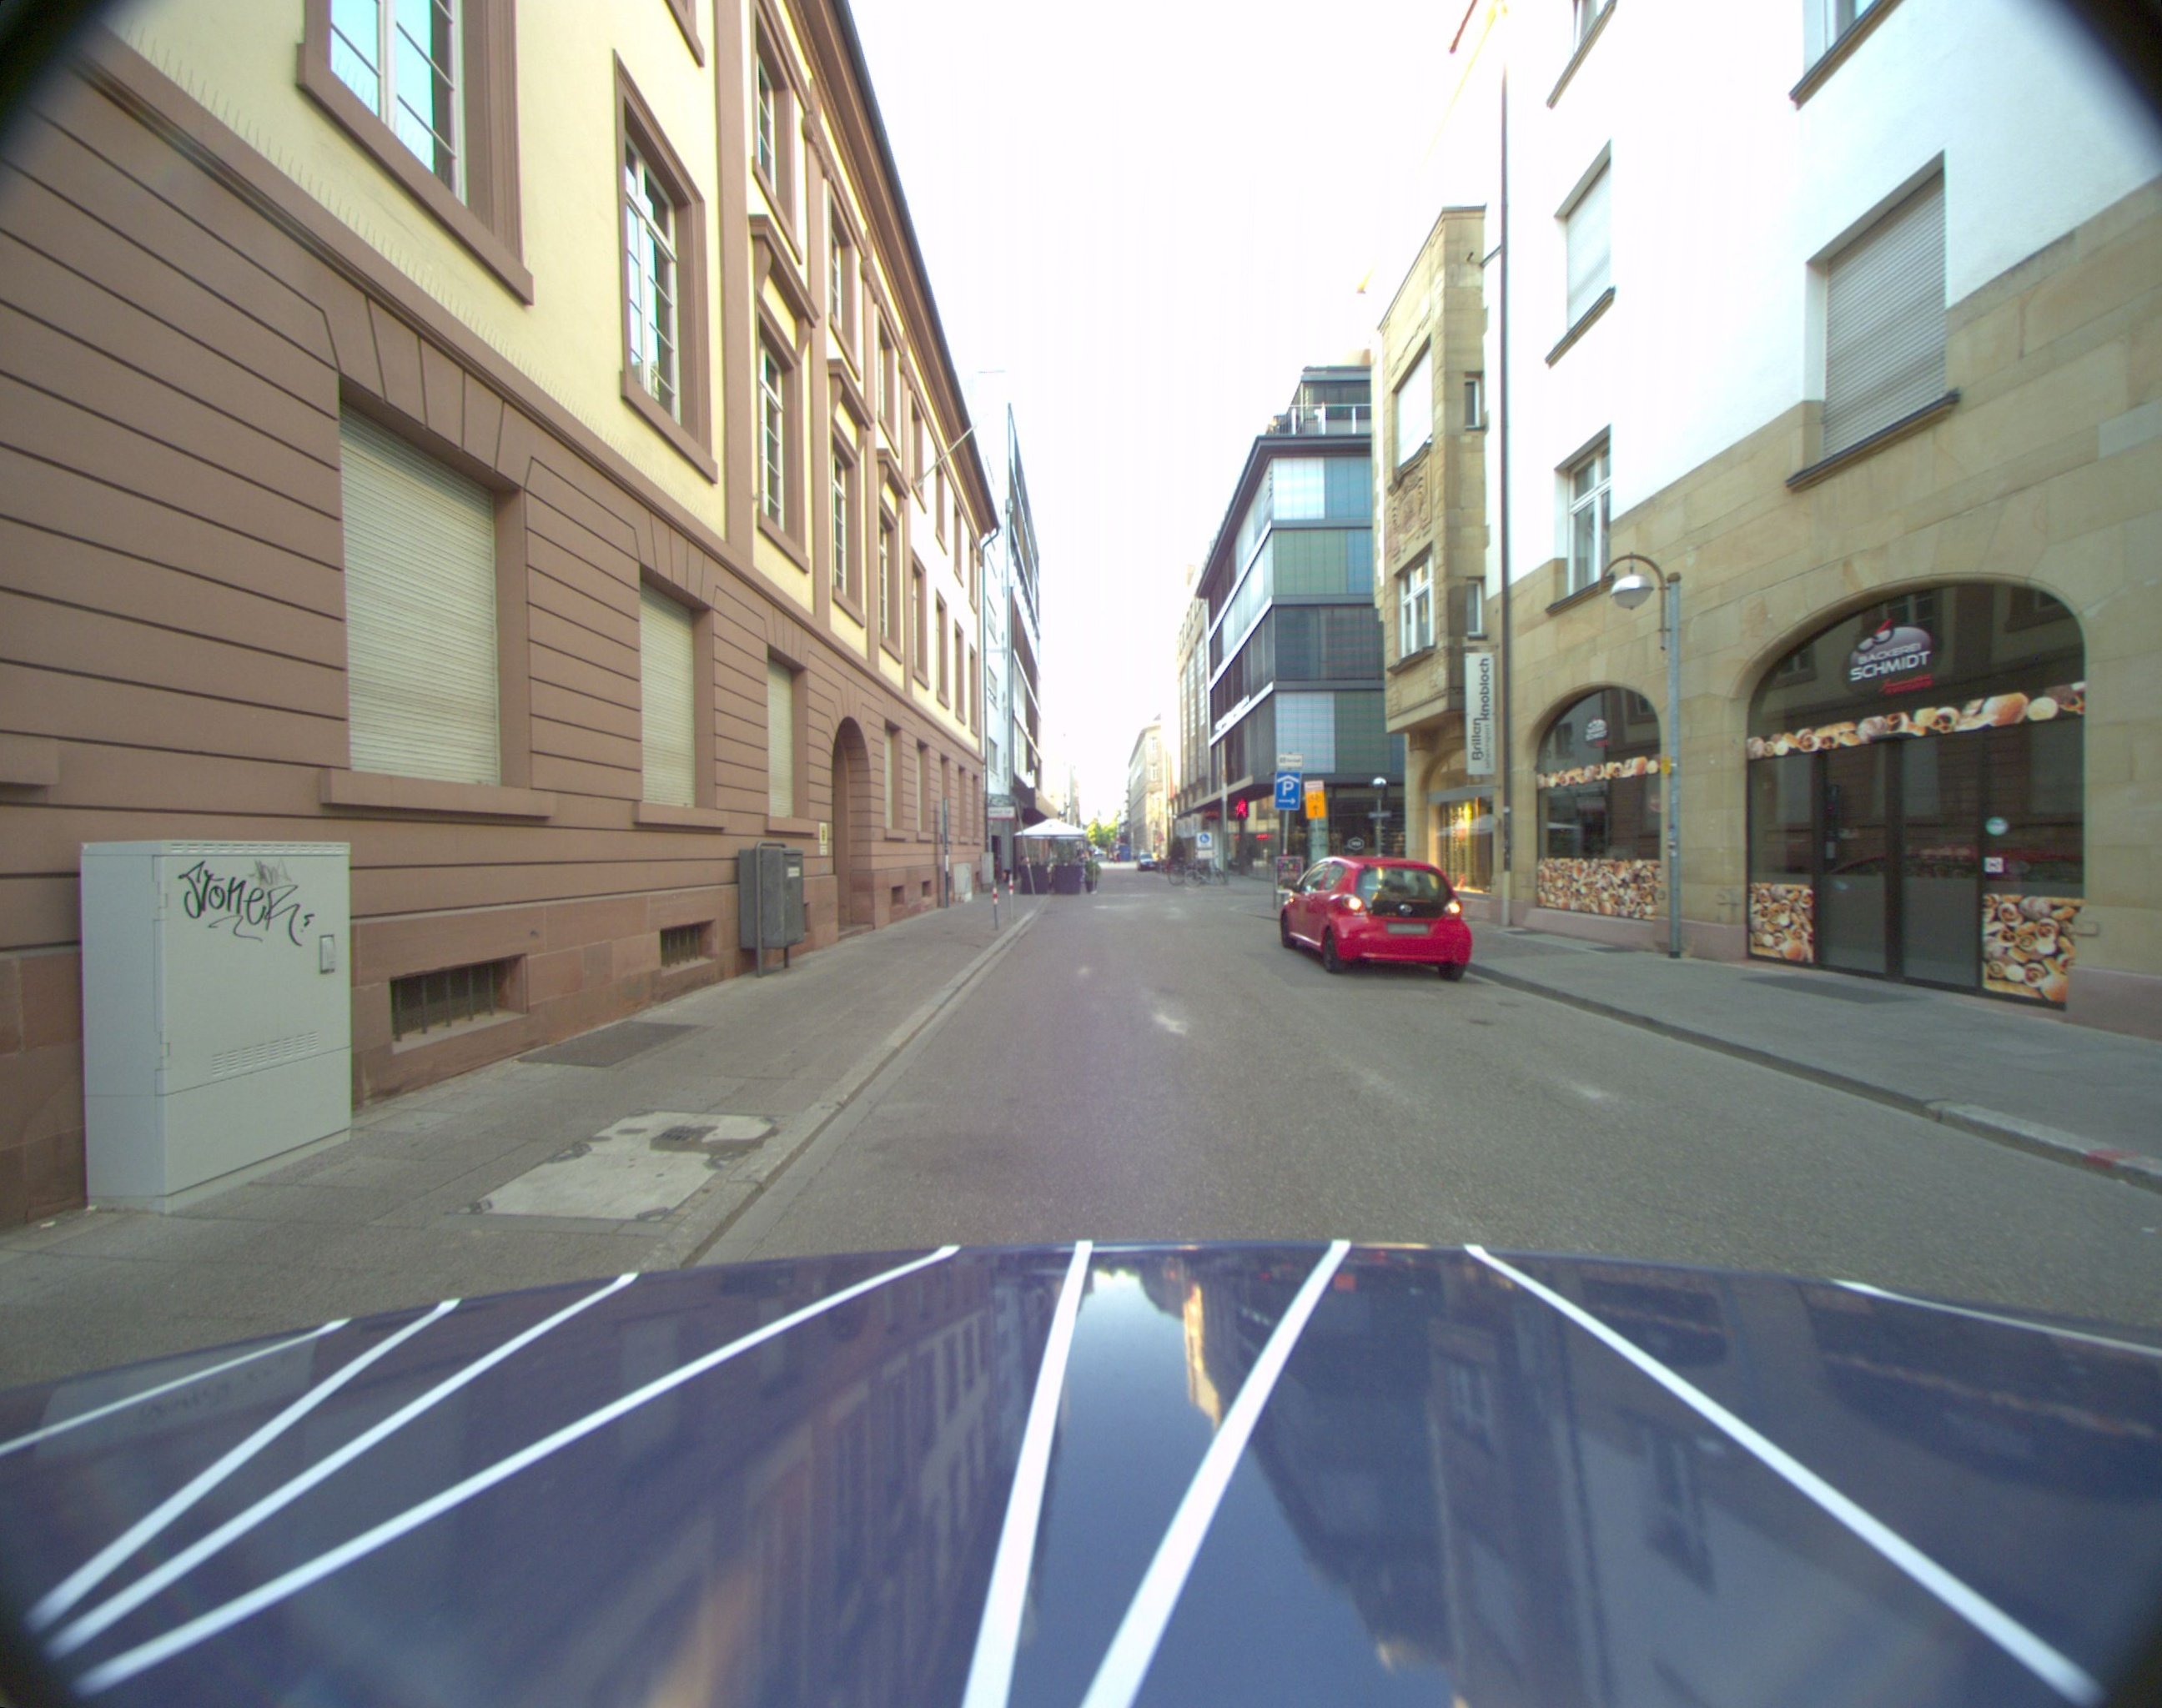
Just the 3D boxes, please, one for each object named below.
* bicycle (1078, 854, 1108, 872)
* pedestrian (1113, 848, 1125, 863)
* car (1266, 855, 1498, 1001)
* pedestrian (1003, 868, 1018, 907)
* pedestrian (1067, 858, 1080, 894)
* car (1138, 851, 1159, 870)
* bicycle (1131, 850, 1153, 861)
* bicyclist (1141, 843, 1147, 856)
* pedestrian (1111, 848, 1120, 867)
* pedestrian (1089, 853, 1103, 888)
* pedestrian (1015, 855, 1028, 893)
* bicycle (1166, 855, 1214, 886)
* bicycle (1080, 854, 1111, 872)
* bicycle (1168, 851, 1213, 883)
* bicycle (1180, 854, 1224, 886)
[{"bbox_3d":[0.818,0.617,53.014,2.038,1.161,0.619,2,1,0],"label":"bicycle"},{"bbox_3d":[4.188,0.155,83.579,0.917,1.563,0.995,0,1,45],"label":"pedestrian"},{"bbox_3d":[3.827,0.825,10.443,1.661,1.461,3.931,3,1,2],"label":"car"},{"bbox_3d":[-3.253,1.551,35.204,0.640,1.762,0.602,-1,1,-4],"label":"pedestrian"},{"bbox_3d":[-0.273,0.755,26.331,0.400,1.206,0.383,-1,1,-8],"label":"pedestrian"},{"bbox_3d":[5.284,0.475,59.251,1.602,1.415,3.605,-1,0,5],"label":"car"},{"bbox_3d":[6.762,0.157,83.946,2.341,1.182,0.517,-1,1,-15],"label":"bicycle"},{"bbox_3d":[6.967,-0.483,83.992,0.582,1.393,0.517,-1,1,-15],"label":"bicyclist"},{"bbox_3d":[3.600,0.379,79.169,0.804,2.002,0.878,-1,1,-6],"label":"pedestrian"},{"bbox_3d":[0.625,0.663,31.233,0.575,1.412,0.868,-1,1,2],"label":"pedestrian"},{"bbox_3d":[-2.063,0.678,26.321,0.363,1.298,0.494,-1,1,-13],"label":"pedestrian"},{"bbox_3d":[4.613,0.696,32.155,1.902,1.174,0.517,-3,-1,0],"label":"bicycle"},{"bbox_3d":[0.983,0.615,51.334,2.038,1.161,0.665,2,1,0],"label":"bicycle"},{"bbox_3d":[5.020,0.596,34.893,1.902,1.262,0.538,-5,1,2],"label":"bicycle"},{"bbox_3d":[4.864,0.634,30.625,1.669,1.197,0.509,-2,1,1],"label":"bicycle"}]
